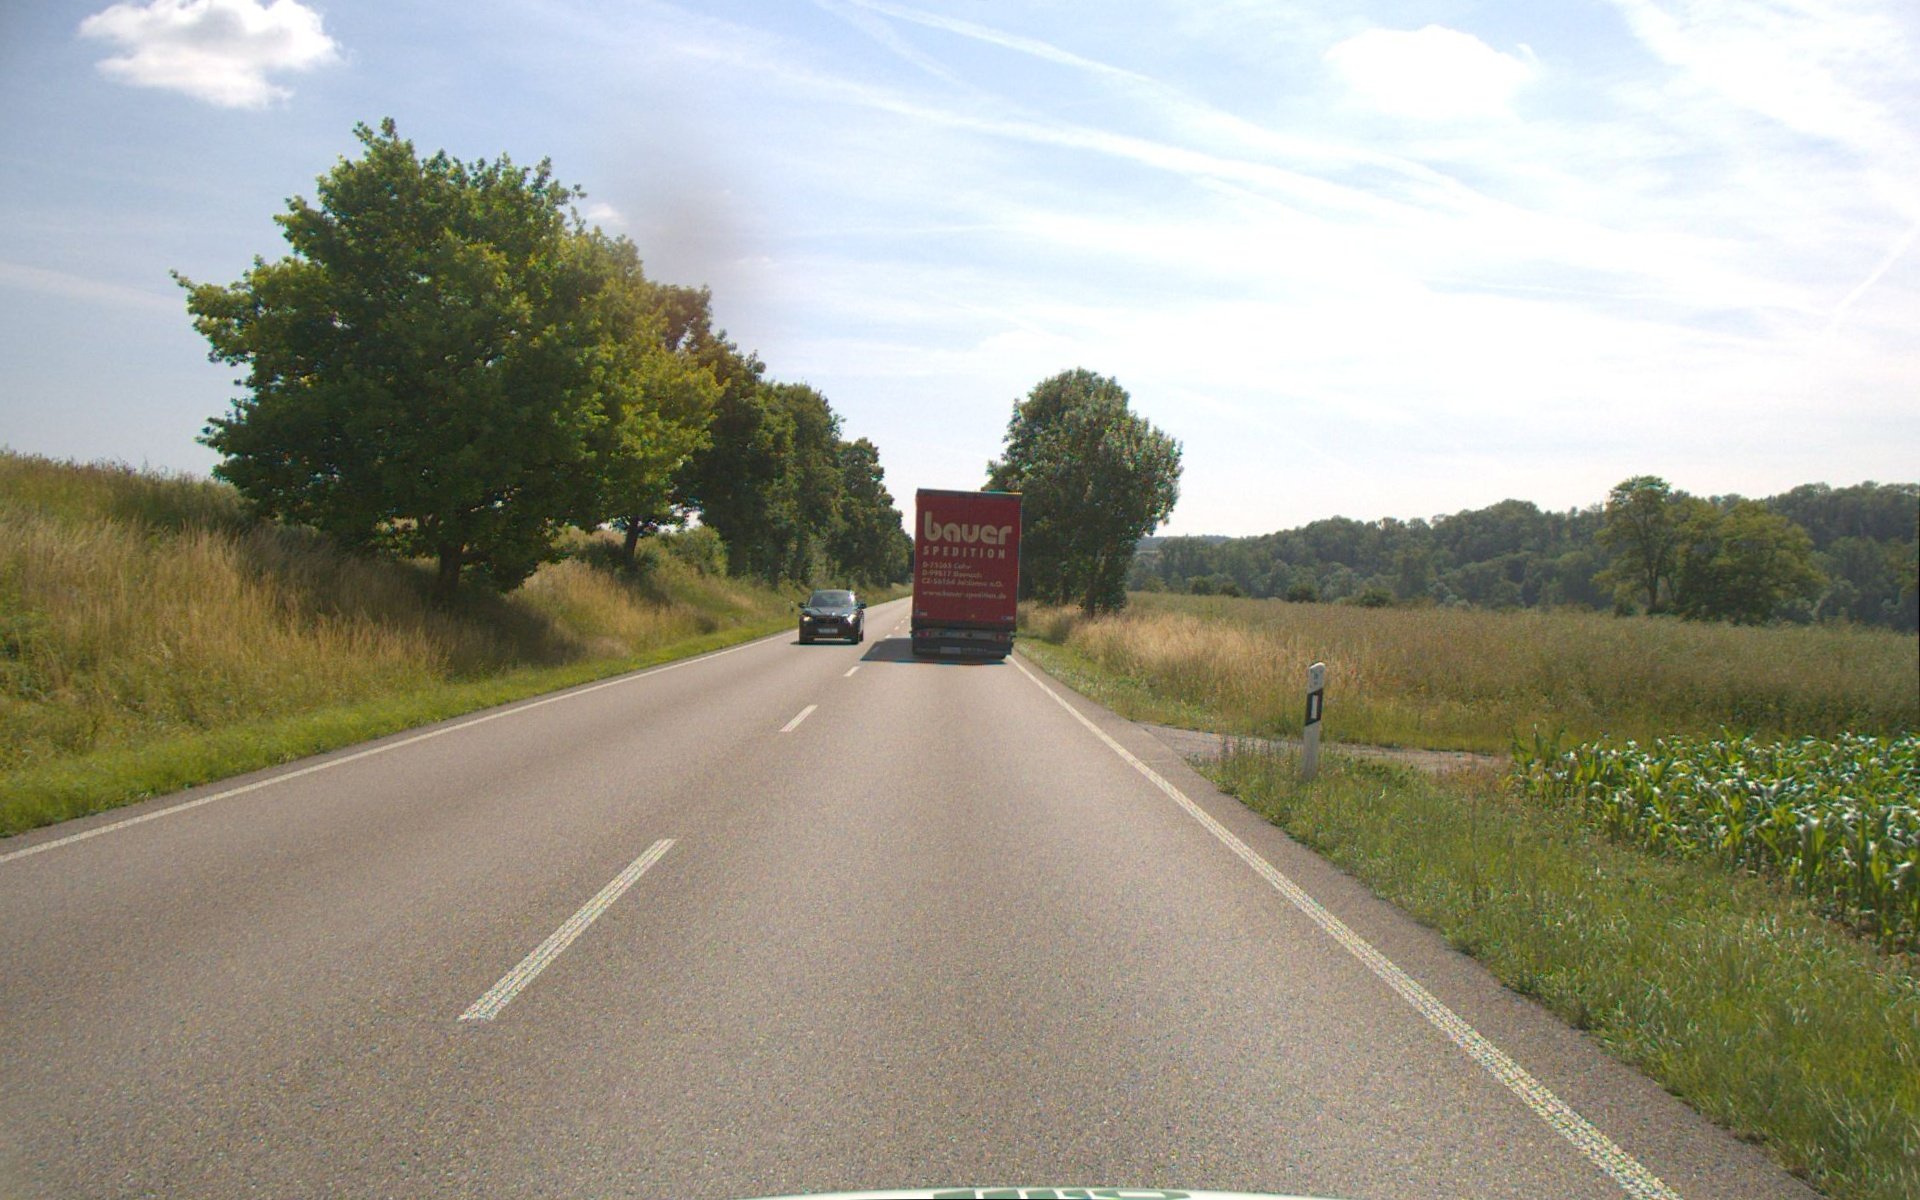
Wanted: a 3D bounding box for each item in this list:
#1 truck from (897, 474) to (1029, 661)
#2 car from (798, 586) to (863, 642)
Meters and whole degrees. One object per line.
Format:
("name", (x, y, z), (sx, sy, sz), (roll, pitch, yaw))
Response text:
("truck", (0.015, -0.738, 42.741), (3.031, 4.337, 8.312), (0, -1, -1))
("car", (-3.779, 0.387, 48.824), (1.622, 1.561, 4.357), (1, 0, -1))
